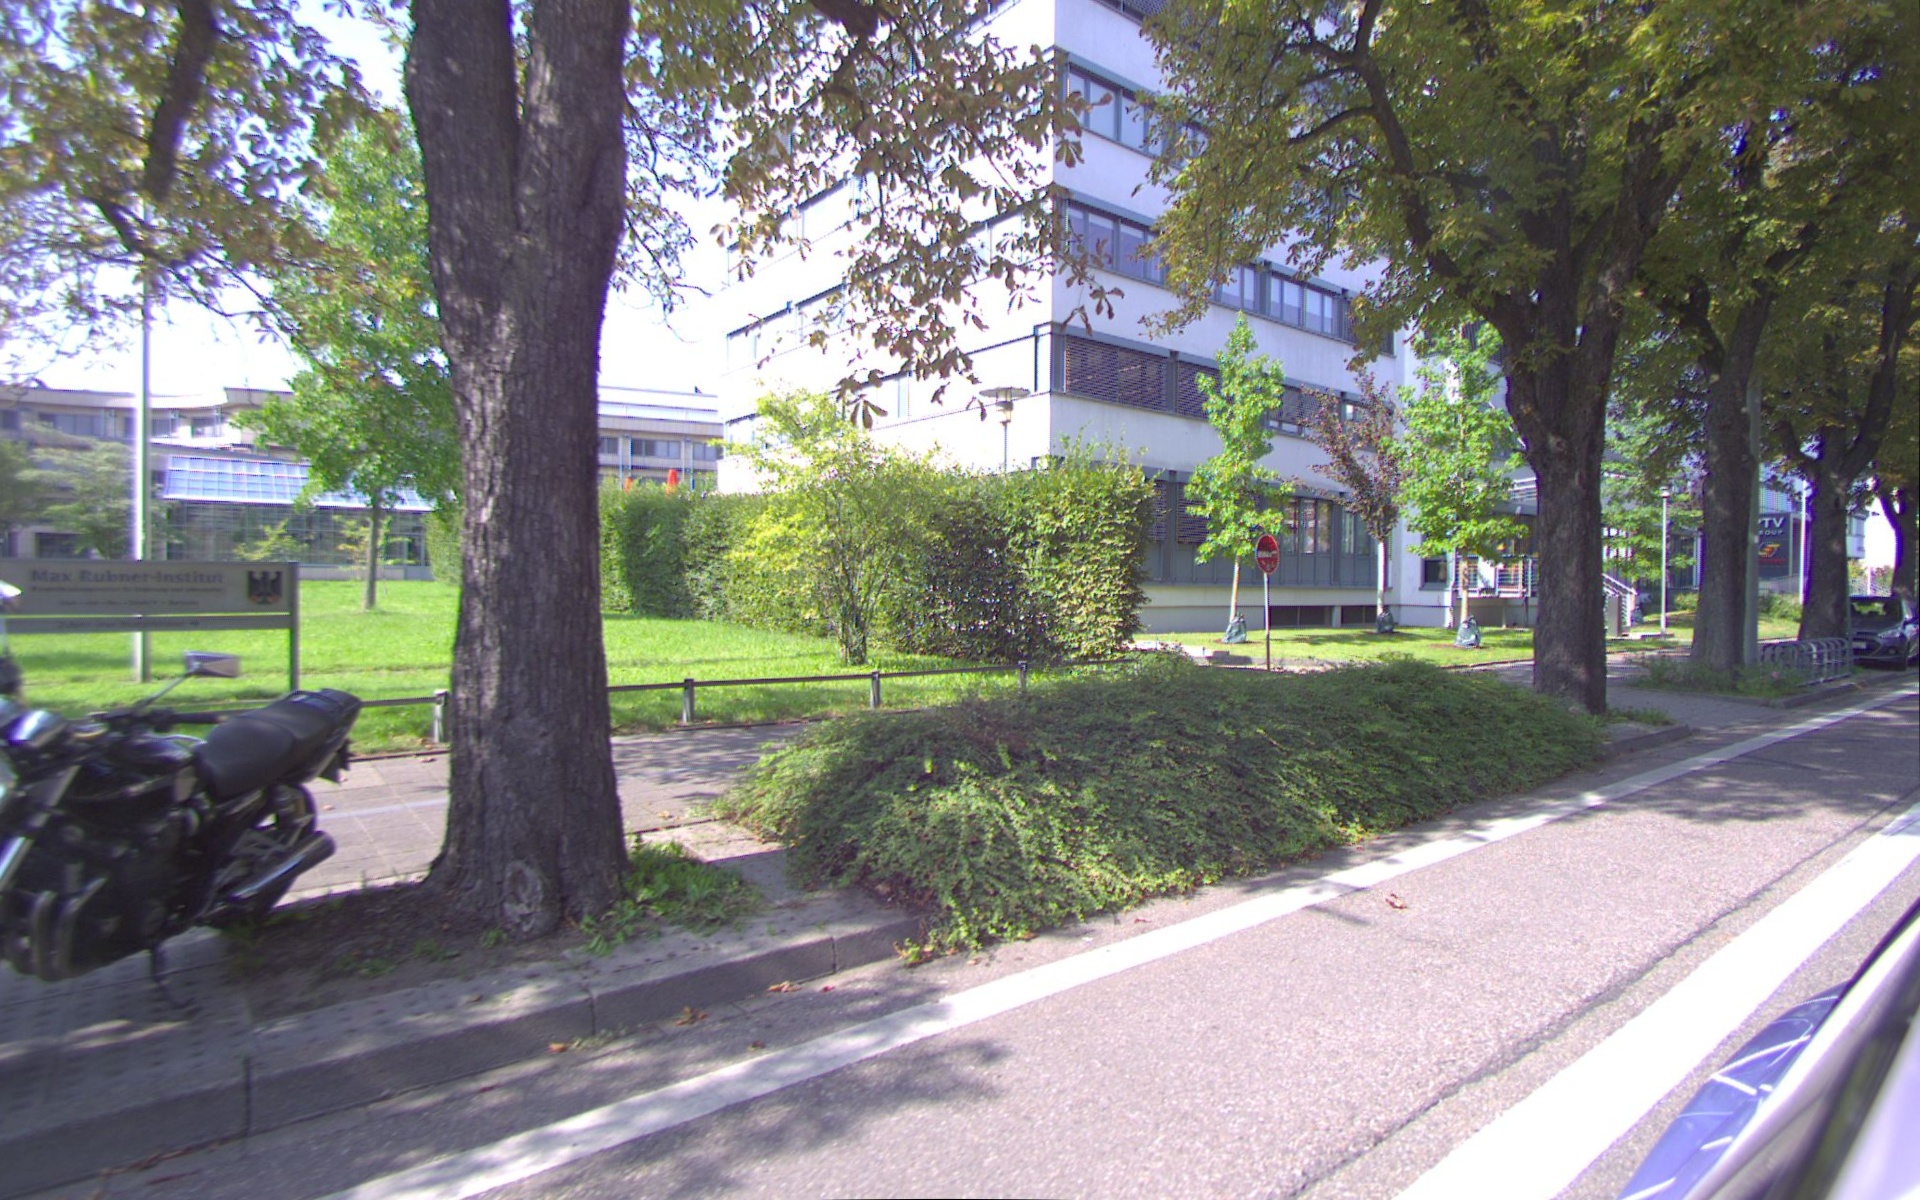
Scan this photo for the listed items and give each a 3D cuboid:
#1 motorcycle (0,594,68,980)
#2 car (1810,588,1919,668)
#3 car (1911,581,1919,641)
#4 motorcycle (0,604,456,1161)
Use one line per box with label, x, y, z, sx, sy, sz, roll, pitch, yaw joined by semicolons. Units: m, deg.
motorcycle;-4.064;0.677;2.952;0.835;1.343;2.052;2;2;23
car;19.351;0.518;21.359;3.502;1.459;1.566;-1;4;-41
car;28.691;0.327;28.777;4.109;1.673;1.866;-1;2;-40
motorcycle;-2.671;0.693;3.489;0.829;1.258;2.067;1;2;0
